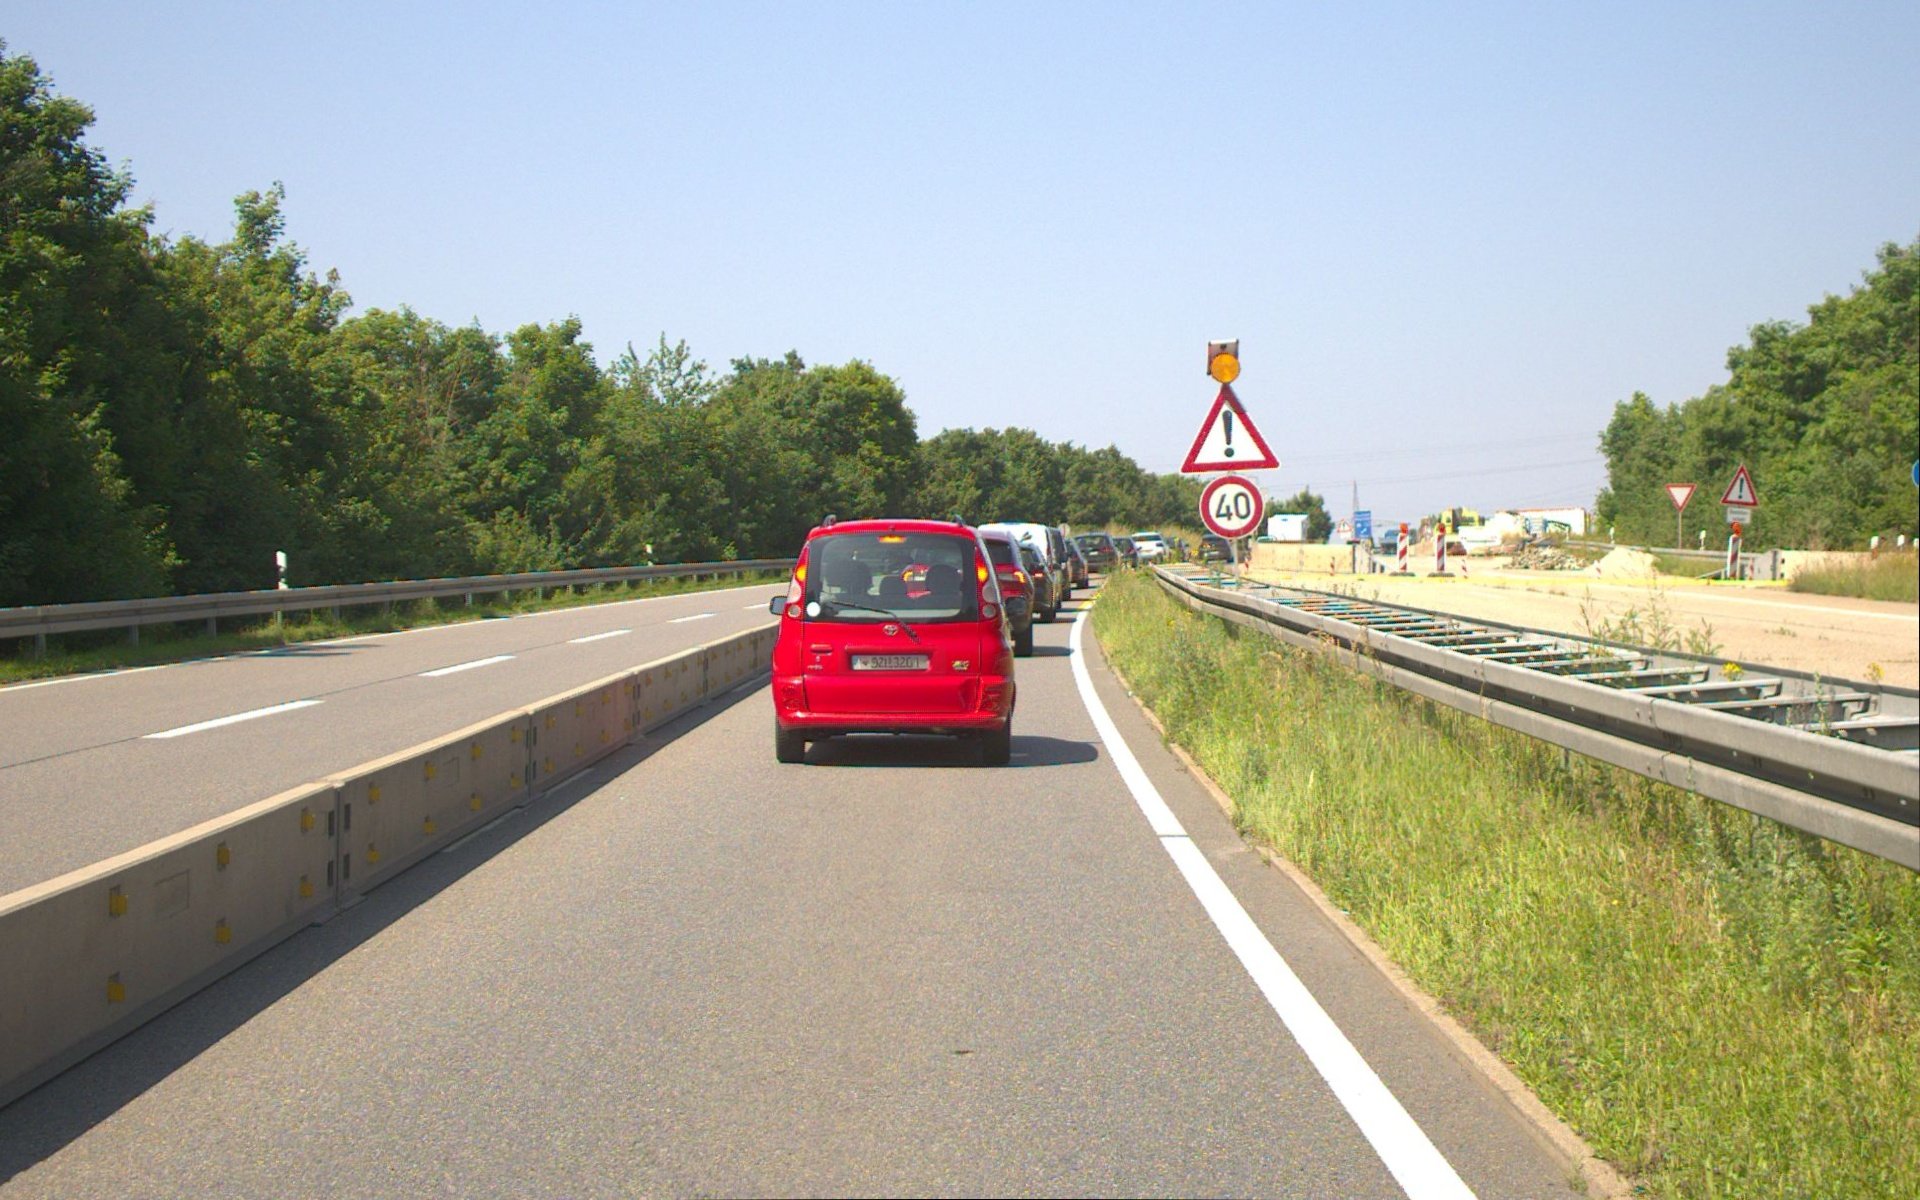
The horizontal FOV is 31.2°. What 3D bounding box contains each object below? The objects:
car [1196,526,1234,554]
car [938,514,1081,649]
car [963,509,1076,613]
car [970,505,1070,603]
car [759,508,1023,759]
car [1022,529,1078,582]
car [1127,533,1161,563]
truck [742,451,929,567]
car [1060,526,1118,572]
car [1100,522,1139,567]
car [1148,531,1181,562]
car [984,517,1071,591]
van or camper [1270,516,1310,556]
[{"bbox_3d":[14.190,-3.335,191.383,1.994,1.546,4.000,0,1,2],"label":"car"},{"bbox_3d":[0.666,-0.274,46.271,1.830,1.716,4.000,-1,1,1],"label":"car"},{"bbox_3d":[1.085,-0.722,63.004,1.993,1.831,4.000,0,1,1],"label":"car"},{"bbox_3d":[1.227,-0.974,72.149,1.993,1.997,4.000,1,1,0],"label":"car"},{"bbox_3d":[-0.527,0.189,24.813,1.751,1.667,4.000,0,1,-2],"label":"car"},{"bbox_3d":[2.572,-1.273,97.754,1.502,1.446,3.325,-1,1,3],"label":"car"},{"bbox_3d":[8.135,-2.320,151.911,1.421,1.294,2.878,0,1,5],"label":"car"},{"bbox_3d":[-6.002,-4.409,166.995,8.621,5.357,3.389,-1,1,4],"label":"truck"},{"bbox_3d":[4.534,-1.805,120.540,1.994,1.579,4.000,0,1,2],"label":"car"},{"bbox_3d":[6.310,-2.186,136.032,1.502,1.730,3.170,1,1,3],"label":"car"},{"bbox_3d":[9.964,-2.618,167.585,1.502,1.446,3.169,-1,1,5],"label":"car"},{"bbox_3d":[1.625,-1.138,83.892,1.993,1.744,4.000,0,1,-1],"label":"car"},{"bbox_3d":[22.754,-4.425,236.993,2.328,2.697,4.593,-1,1,1],"label":"van or camper"}]
